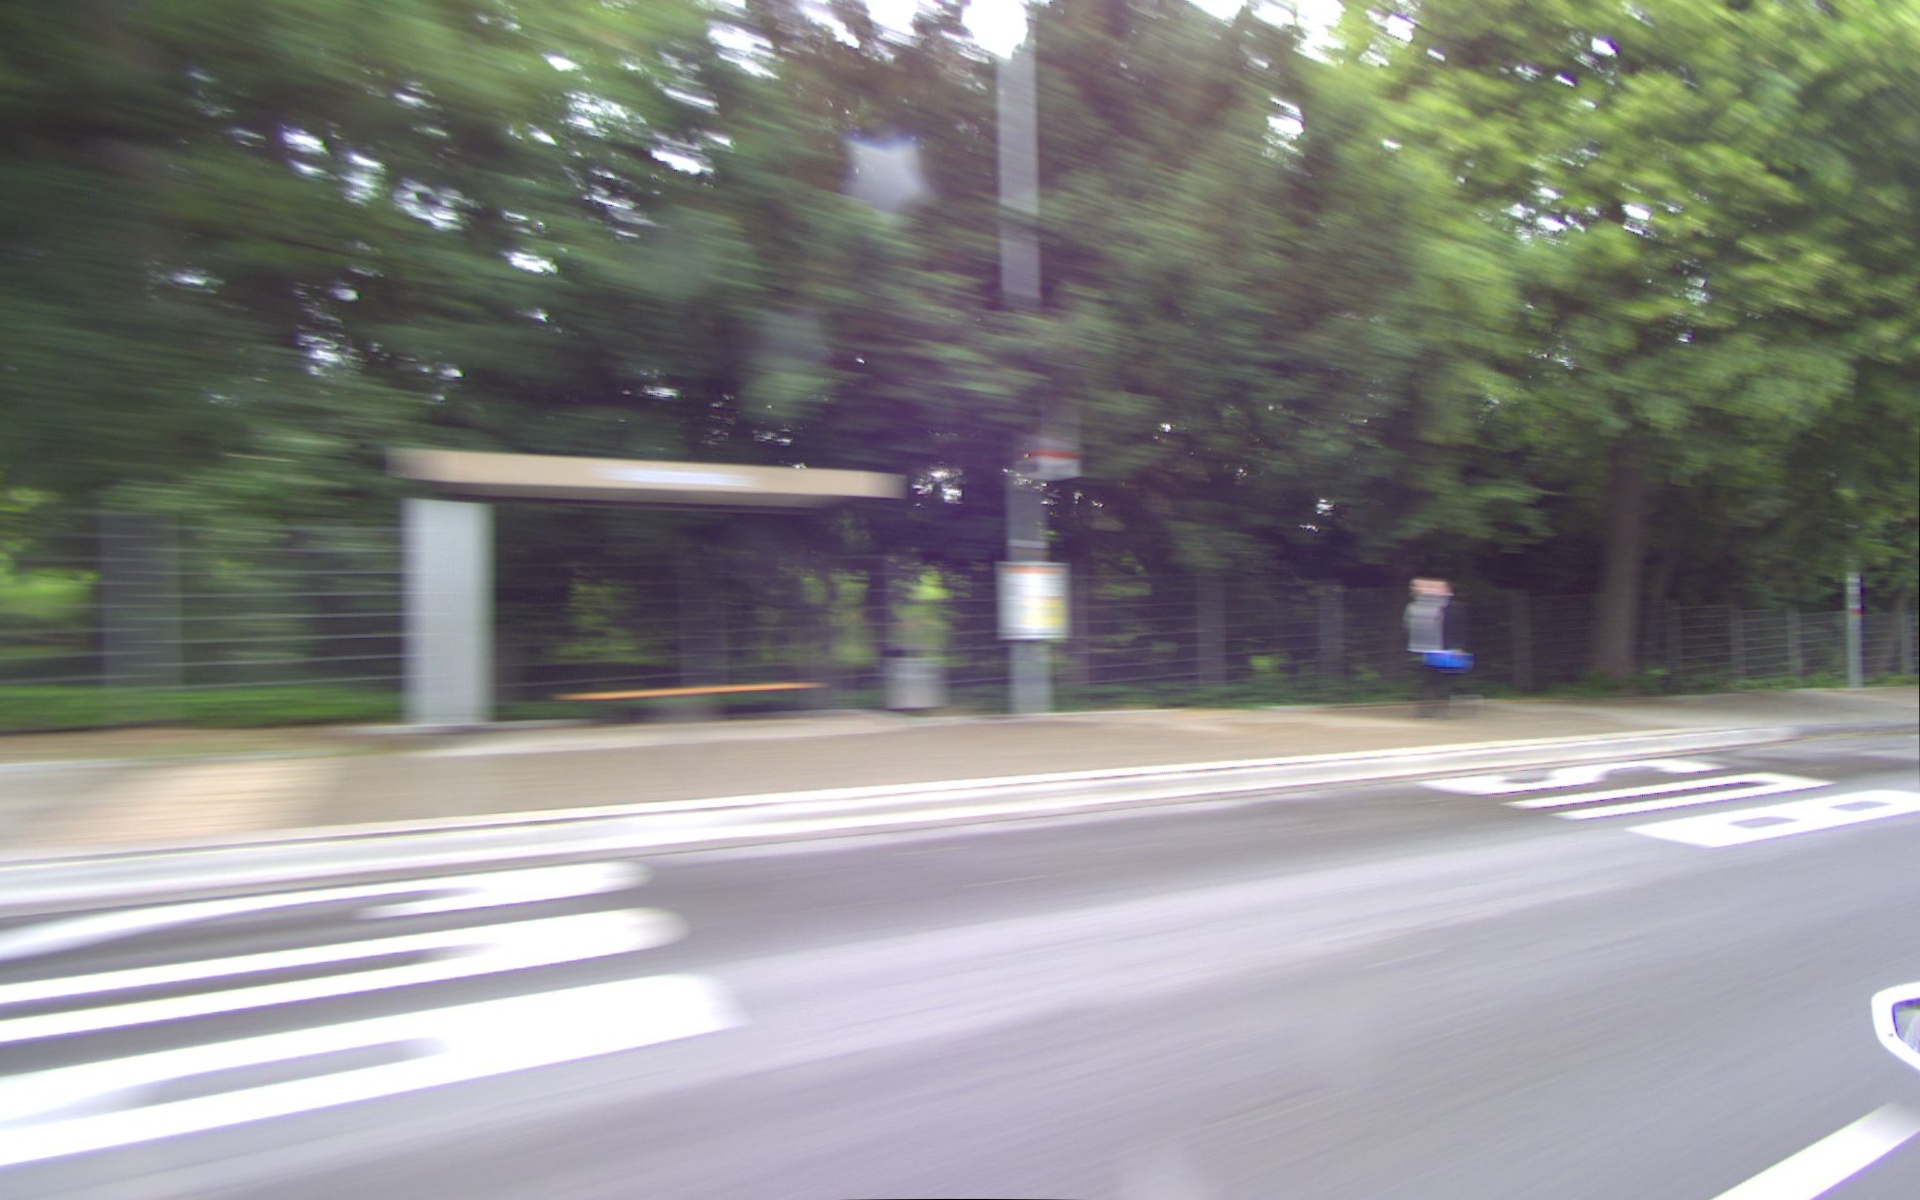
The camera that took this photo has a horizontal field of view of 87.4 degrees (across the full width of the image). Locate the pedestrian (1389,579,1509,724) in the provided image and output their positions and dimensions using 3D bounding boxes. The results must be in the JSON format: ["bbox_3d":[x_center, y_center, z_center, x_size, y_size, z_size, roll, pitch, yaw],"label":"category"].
[{"bbox_3d":[6.257,0.626,12.853,1.133,1.756,0.882,1,0,-32],"label":"pedestrian"}]
